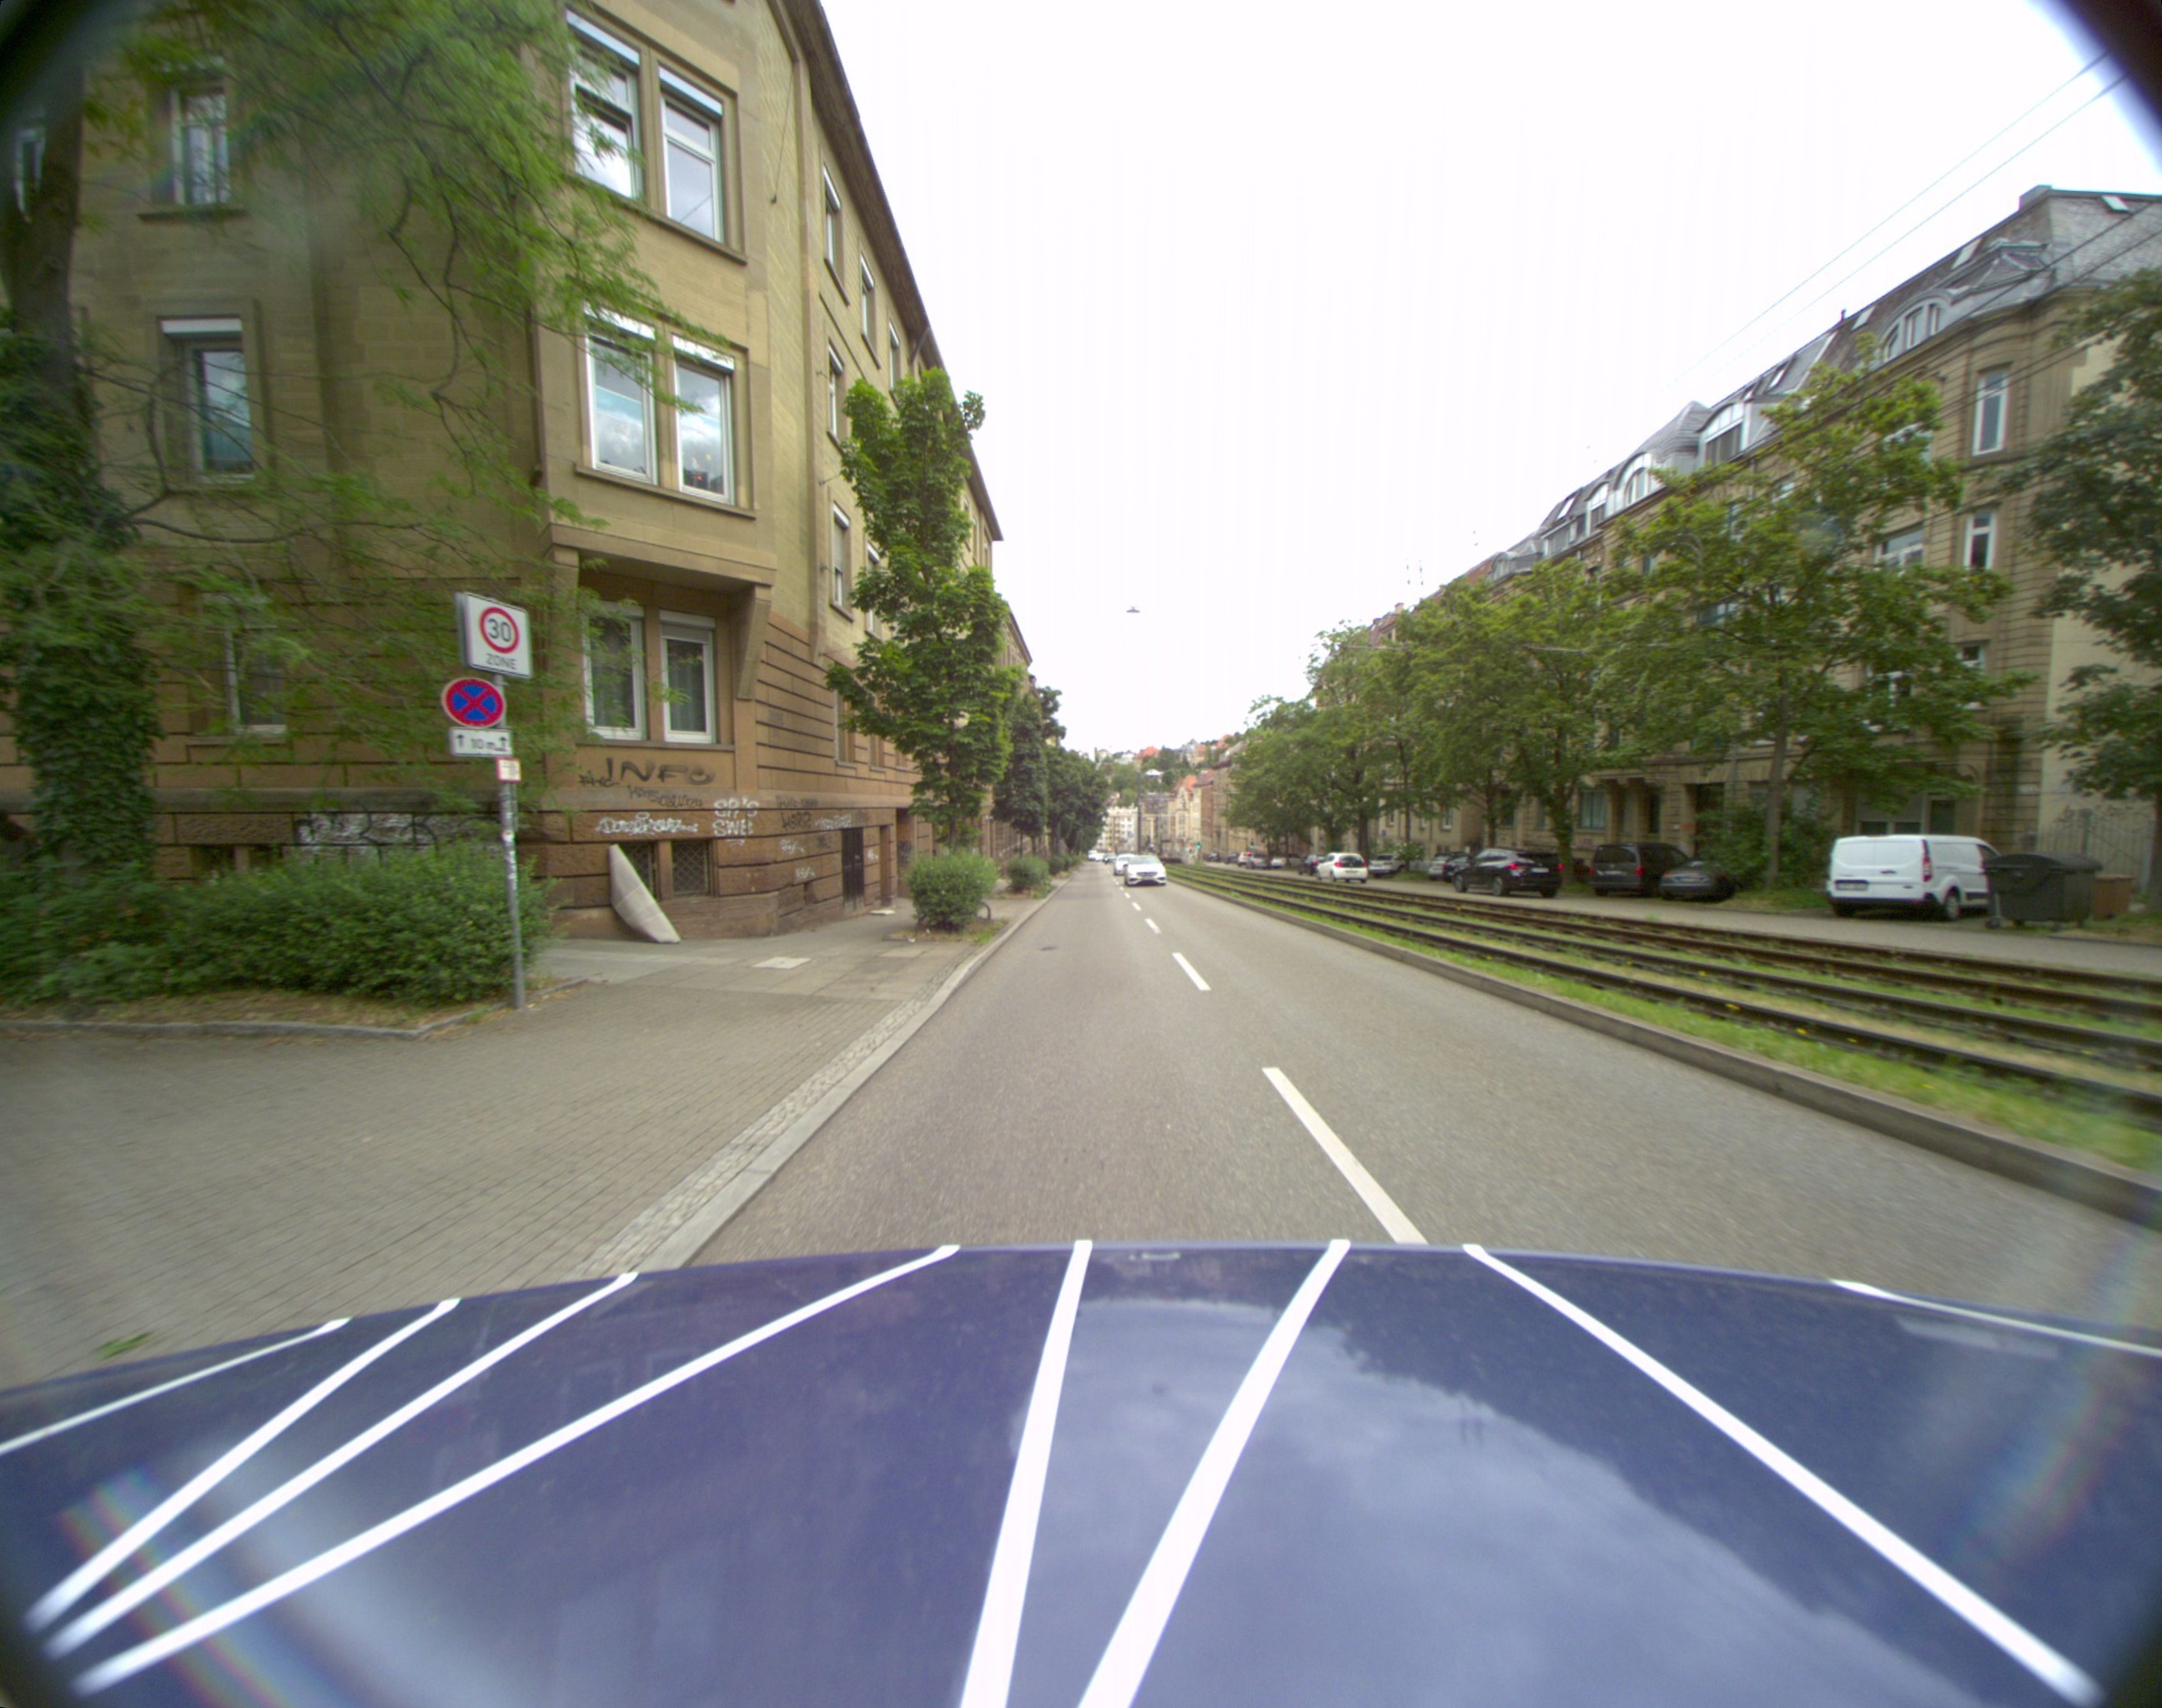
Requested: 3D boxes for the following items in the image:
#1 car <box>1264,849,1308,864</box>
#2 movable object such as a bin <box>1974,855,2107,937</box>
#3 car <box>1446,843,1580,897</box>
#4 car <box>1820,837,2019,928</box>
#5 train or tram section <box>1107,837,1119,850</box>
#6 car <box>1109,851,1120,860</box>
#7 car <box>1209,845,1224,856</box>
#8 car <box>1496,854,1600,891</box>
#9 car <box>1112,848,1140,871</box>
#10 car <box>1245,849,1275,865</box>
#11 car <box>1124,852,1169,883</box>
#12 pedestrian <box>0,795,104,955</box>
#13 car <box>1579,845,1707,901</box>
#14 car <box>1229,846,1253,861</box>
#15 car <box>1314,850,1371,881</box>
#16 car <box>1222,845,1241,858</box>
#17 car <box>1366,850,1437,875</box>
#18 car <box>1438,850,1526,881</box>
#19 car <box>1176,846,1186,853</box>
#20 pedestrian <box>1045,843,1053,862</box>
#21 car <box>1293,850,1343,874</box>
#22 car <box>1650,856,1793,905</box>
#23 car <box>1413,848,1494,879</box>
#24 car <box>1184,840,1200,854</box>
[{"bbox_3d":[19.600,0.202,72.662,4.006,1.414,1.782,-1,1,-30],"label":"car"},{"bbox_3d":[17.526,0.736,13.906,1.279,1.393,1.095,-2,1,-14],"label":"movable object such as a bin"},{"bbox_3d":[14.483,0.490,25.844,1.922,1.640,4.607,1,0,0],"label":"car"},{"bbox_3d":[18.843,0.557,17.060,4.197,1.826,1.867,0,1,-26],"label":"car"},{"bbox_3d":[9.357,-2.970,223.619,2.968,3.456,14.408,0,0,-1],"label":"train or tram section"},{"bbox_3d":[4.912,0.209,111.086,1.562,1.330,4.001,0,0,1],"label":"car"},{"bbox_3d":[21.611,-0.495,121.146,1.884,1.640,4.472,1,0,4],"label":"car"},{"bbox_3d":[19.483,0.732,31.678,4.198,1.427,1.867,0,0,-28],"label":"car"},{"bbox_3d":[3.189,0.394,54.673,1.806,1.542,4.000,-1,0,1],"label":"car"},{"bbox_3d":[16.460,0.256,69.992,1.729,1.402,4.597,1,0,1],"label":"car"},{"bbox_3d":[3.069,0.619,36.079,1.806,1.391,4.000,-1,0,0],"label":"car"},{"bbox_3d":[-11.982,0.201,8.508,0.860,1.678,0.848,2,5,1],"label":"pedestrian"},{"bbox_3d":[19.021,0.586,25.691,4.198,1.757,1.867,0,1,-28],"label":"car"},{"bbox_3d":[17.654,-0.056,83.801,1.784,1.607,4.346,1,0,1],"label":"car"},{"bbox_3d":[12.722,0.524,37.138,1.592,1.427,3.412,1,0,0],"label":"car"},{"bbox_3d":[20.007,-0.309,101.152,1.784,1.647,4.243,1,0,1],"label":"car"},{"bbox_3d":[19.259,0.491,45.567,4.162,1.461,1.781,0,1,-31],"label":"car"},{"bbox_3d":[19.654,0.528,37.226,4.198,1.427,1.867,0,0,-29],"label":"car"},{"bbox_3d":[21.825,-0.927,165.833,1.752,1.420,4.750,1,0,4],"label":"car"},{"bbox_3d":[-3.203,-0.186,75.921,0.687,1.819,1.121,1,3,1],"label":"pedestrian"},{"bbox_3d":[15.541,0.487,50.085,1.870,1.427,4.493,2,1,1],"label":"car"},{"bbox_3d":[19.285,0.728,22.855,4.198,1.332,1.867,0,0,-28],"label":"car"},{"bbox_3d":[20.126,0.488,41.036,4.198,1.564,1.867,0,0,-30],"label":"car"},{"bbox_3d":[22.302,-1.350,152.545,2.398,2.684,6.519,1,0,2],"label":"car"}]
